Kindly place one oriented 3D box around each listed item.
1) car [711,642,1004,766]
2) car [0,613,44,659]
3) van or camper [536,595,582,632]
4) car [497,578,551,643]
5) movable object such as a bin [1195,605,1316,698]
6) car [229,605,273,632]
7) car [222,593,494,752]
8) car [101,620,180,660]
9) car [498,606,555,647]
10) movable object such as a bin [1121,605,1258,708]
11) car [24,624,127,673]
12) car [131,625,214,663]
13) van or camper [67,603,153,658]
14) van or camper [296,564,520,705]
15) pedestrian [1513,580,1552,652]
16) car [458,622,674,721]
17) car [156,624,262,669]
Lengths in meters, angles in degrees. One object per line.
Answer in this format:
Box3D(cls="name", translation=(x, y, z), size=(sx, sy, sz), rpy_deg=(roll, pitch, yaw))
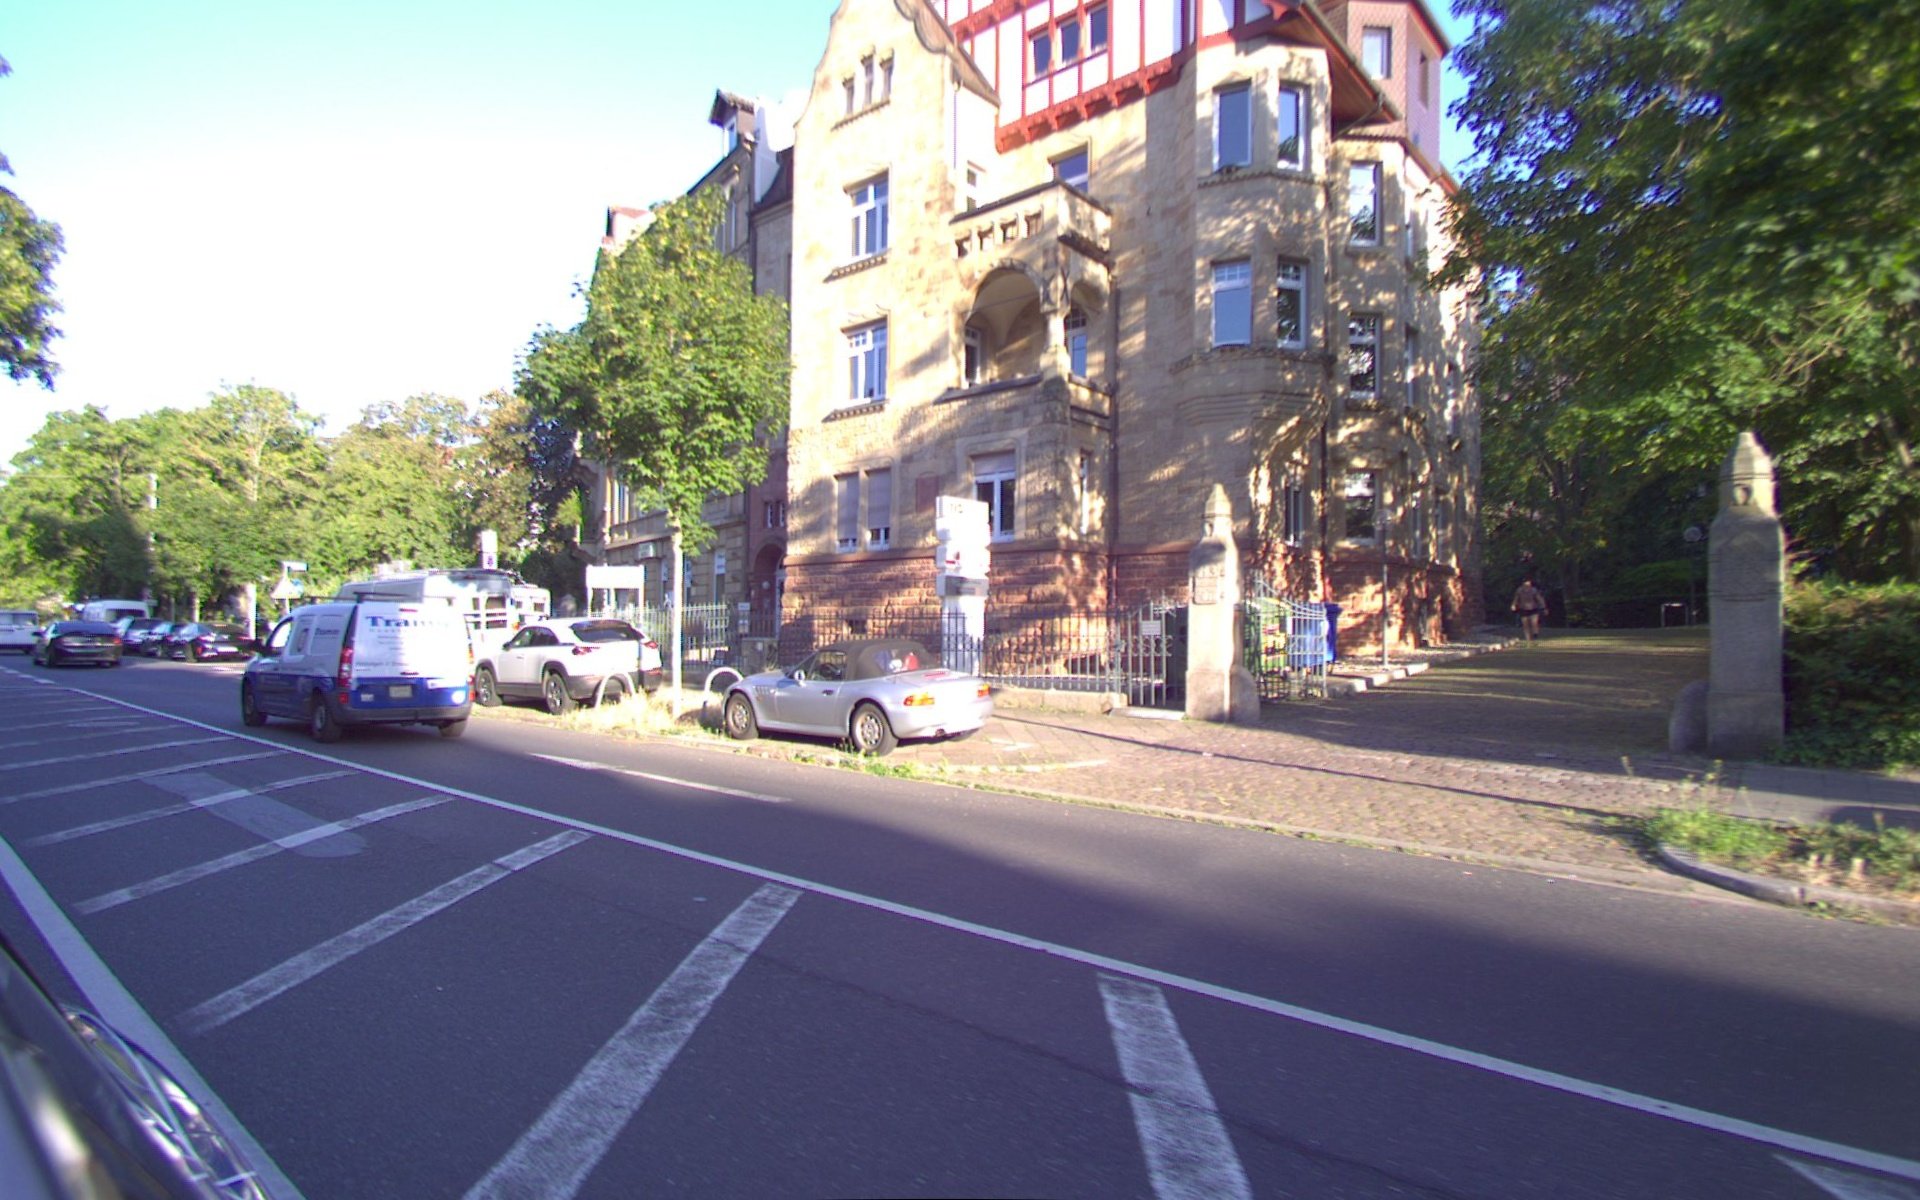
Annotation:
Box3D(cls="car", translation=(-1.349, 1.172, 12.486), size=(3.611, 1.257, 1.520), rpy_deg=(-2, -2, 40))
Box3D(cls="car", translation=(-41.134, 1.545, 43.522), size=(5.168, 1.845, 1.972), rpy_deg=(-2, -5, 42))
Box3D(cls="van or camper", translation=(-28.877, 1.047, 73.005), size=(2.174, 2.371, 5.322), rpy_deg=(2, -4, -12))
Box3D(cls="car", translation=(-20.400, 0.572, 47.319), size=(2.090, 2.760, 5.327), rpy_deg=(3, -4, -24))
Box3D(cls="movable object such as a bin", translation=(5.112, 0.839, 17.444), size=(1.327, 1.389, 1.922), rpy_deg=(-1, 2, 40))
Box3D(cls="car", translation=(-62.707, 1.635, 89.490), size=(5.098, 2.306, 2.191), rpy_deg=(-2, -3, 43))
Box3D(cls="car", translation=(-8.463, 0.955, 14.068), size=(4.470, 1.867, 1.814), rpy_deg=(-2, -5, 40))
Box3D(cls="car", translation=(-36.168, 1.774, 44.647), size=(4.568, 1.657, 1.846), rpy_deg=(-2, -4, 40))
Box3D(cls="car", translation=(-18.182, 1.157, 42.340), size=(1.965, 1.549, 4.577), rpy_deg=(3, -4, -26))
Box3D(cls="movable object such as a bin", translation=(3.624, 0.843, 15.883), size=(1.327, 1.389, 1.922), rpy_deg=(-1, 2, 40))
Box3D(cls="car", translation=(-27.004, 1.473, 30.866), size=(4.302, 1.397, 1.741), rpy_deg=(-2, -5, 41))
Box3D(cls="car", translation=(-31.793, 1.781, 40.810), size=(4.622, 1.456, 1.718), rpy_deg=(-2, -4, 41))
Box3D(cls="van or camper", translation=(-41.742, 1.525, 49.620), size=(6.300, 2.487, 2.069), rpy_deg=(-2, -5, 40))
Box3D(cls="van or camper", translation=(-12.108, 0.733, 22.008), size=(6.028, 2.689, 1.975), rpy_deg=(-2, -2, 37))
Box3D(cls="pedestrian", translation=(13.781, 0.394, 24.371), size=(0.698, 1.710, 0.578), rpy_deg=(-2, -2, 42))
Box3D(cls="car", translation=(-7.055, 1.181, 17.904), size=(4.299, 1.546, 1.728), rpy_deg=(-2, -2, 40))
Box3D(cls="car", translation=(-26.888, 1.662, 36.171), size=(4.826, 1.495, 1.973), rpy_deg=(-2, -4, 41))
